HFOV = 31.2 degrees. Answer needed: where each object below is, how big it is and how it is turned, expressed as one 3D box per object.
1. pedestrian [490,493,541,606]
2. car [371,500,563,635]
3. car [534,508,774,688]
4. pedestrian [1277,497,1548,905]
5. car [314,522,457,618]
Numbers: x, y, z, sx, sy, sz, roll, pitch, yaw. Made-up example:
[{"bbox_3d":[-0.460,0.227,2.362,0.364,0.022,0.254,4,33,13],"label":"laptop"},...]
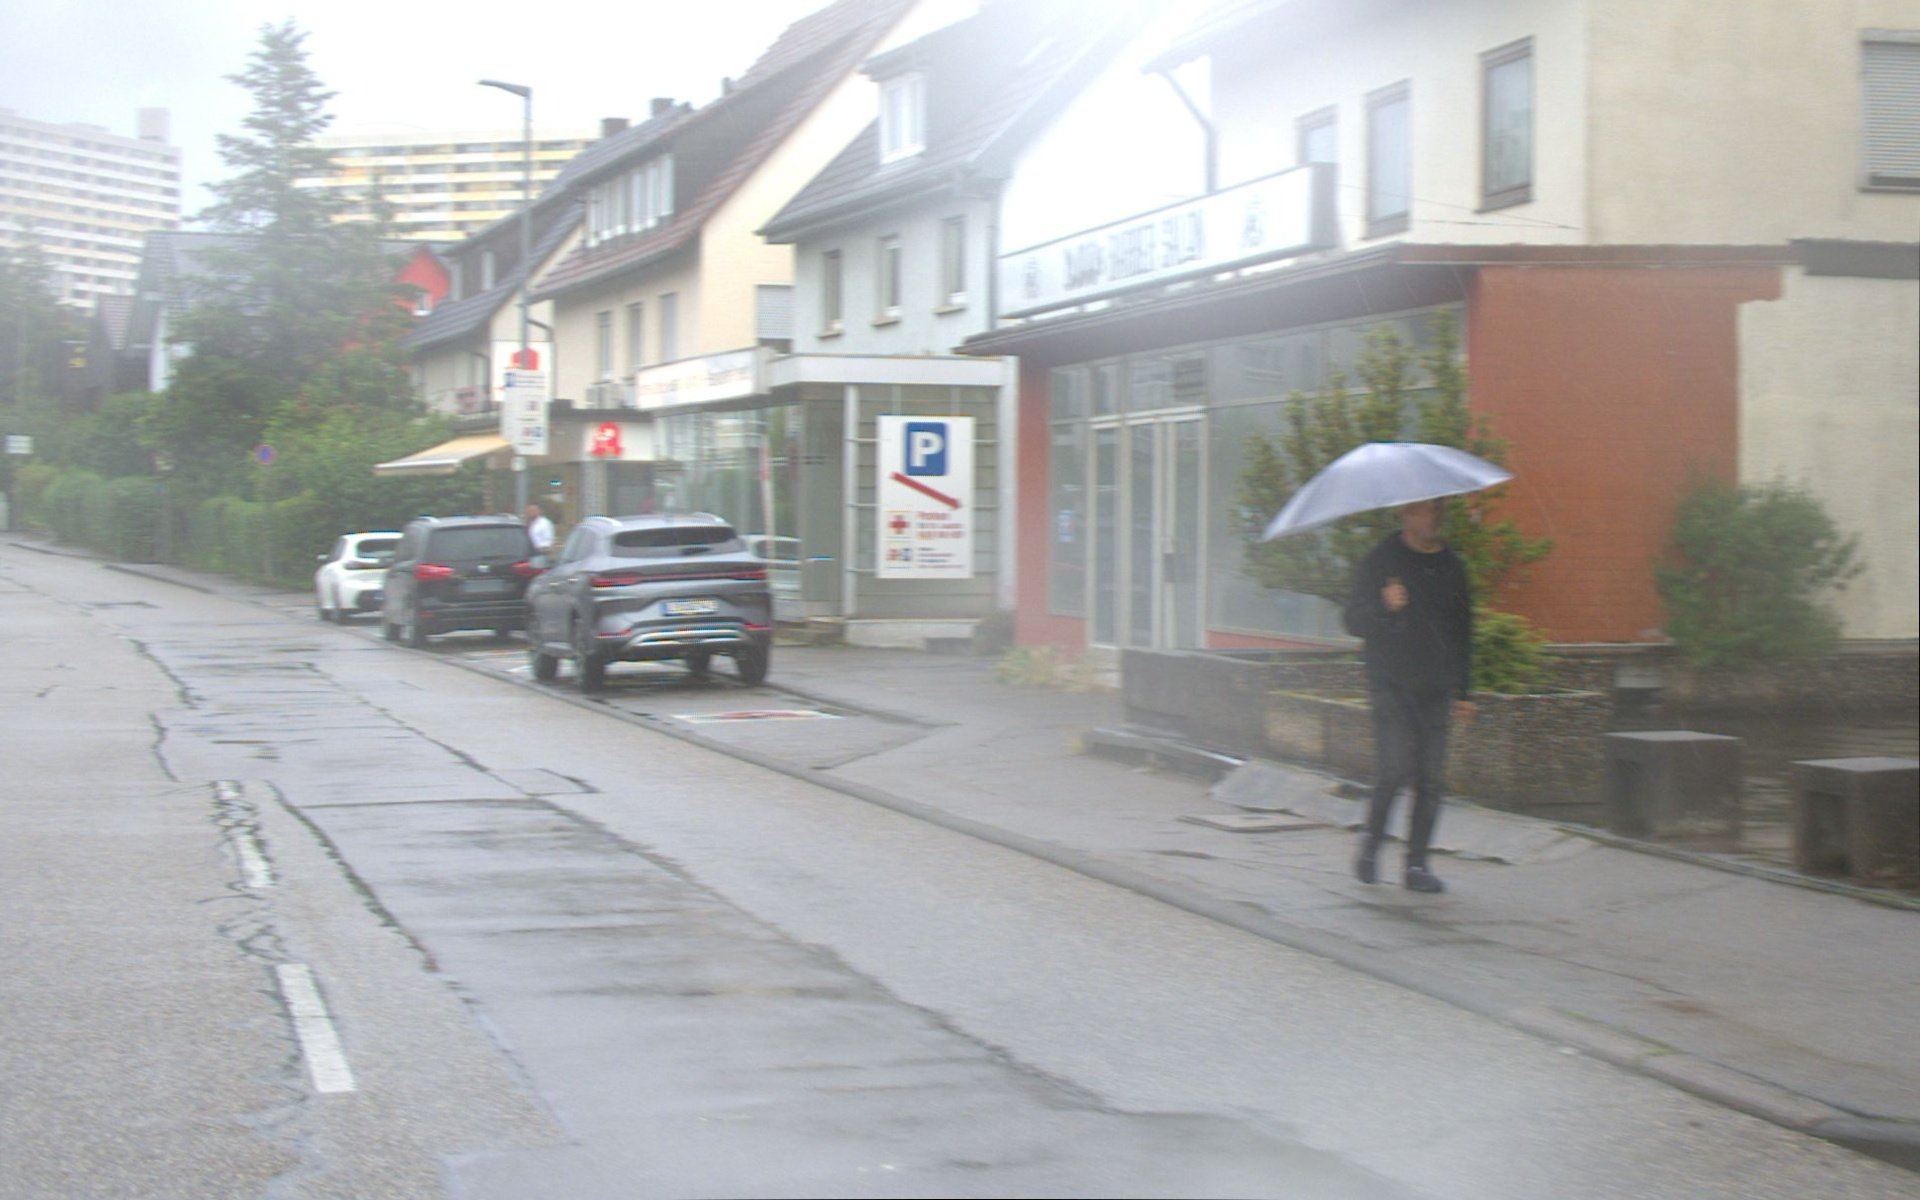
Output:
[{"bbox_3d":[-7.458,-0.850,57.740,0.622,1.885,0.647,1,1,19],"label":"pedestrian"},{"bbox_3d":[-6.869,-0.464,47.471,2.035,1.689,4.964,-3,1,-14],"label":"car"},{"bbox_3d":[-3.189,-0.060,34.977,1.874,1.637,4.794,-2,1,-11],"label":"car"},{"bbox_3d":[1.804,0.391,13.831,0.752,1.563,0.993,2,0,-11],"label":"pedestrian"},{"bbox_3d":[-9.519,-0.532,56.736,1.815,1.443,4.205,-2,2,-16],"label":"car"}]
